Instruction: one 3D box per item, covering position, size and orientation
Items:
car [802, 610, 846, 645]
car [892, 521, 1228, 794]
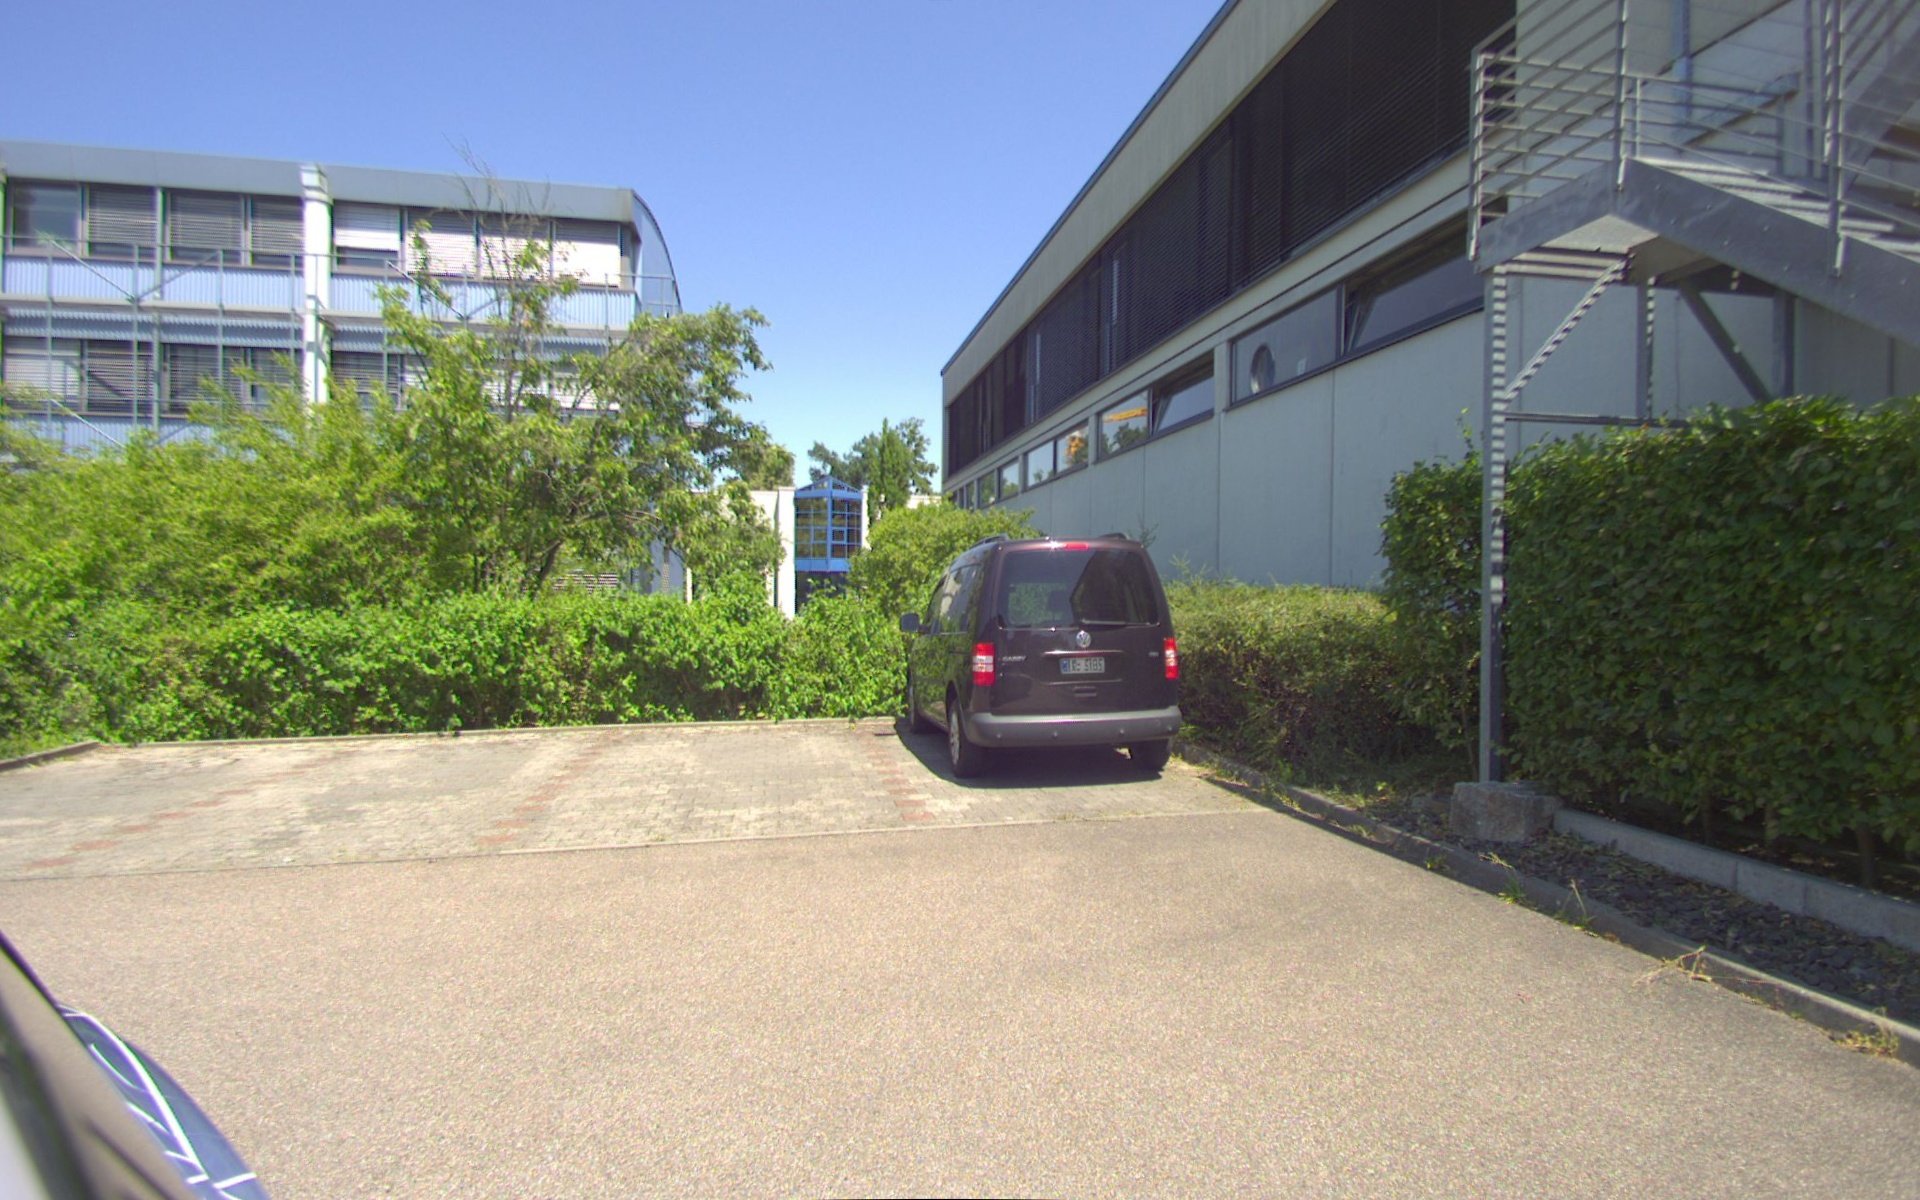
[{"bbox_3d":[-6.936,1.372,51.325,1.806,1.579,4.011,0,1,-14],"label":"car"},{"bbox_3d":[0.593,0.387,9.209,1.838,1.874,4.239,-1,0,-12],"label":"car"}]
